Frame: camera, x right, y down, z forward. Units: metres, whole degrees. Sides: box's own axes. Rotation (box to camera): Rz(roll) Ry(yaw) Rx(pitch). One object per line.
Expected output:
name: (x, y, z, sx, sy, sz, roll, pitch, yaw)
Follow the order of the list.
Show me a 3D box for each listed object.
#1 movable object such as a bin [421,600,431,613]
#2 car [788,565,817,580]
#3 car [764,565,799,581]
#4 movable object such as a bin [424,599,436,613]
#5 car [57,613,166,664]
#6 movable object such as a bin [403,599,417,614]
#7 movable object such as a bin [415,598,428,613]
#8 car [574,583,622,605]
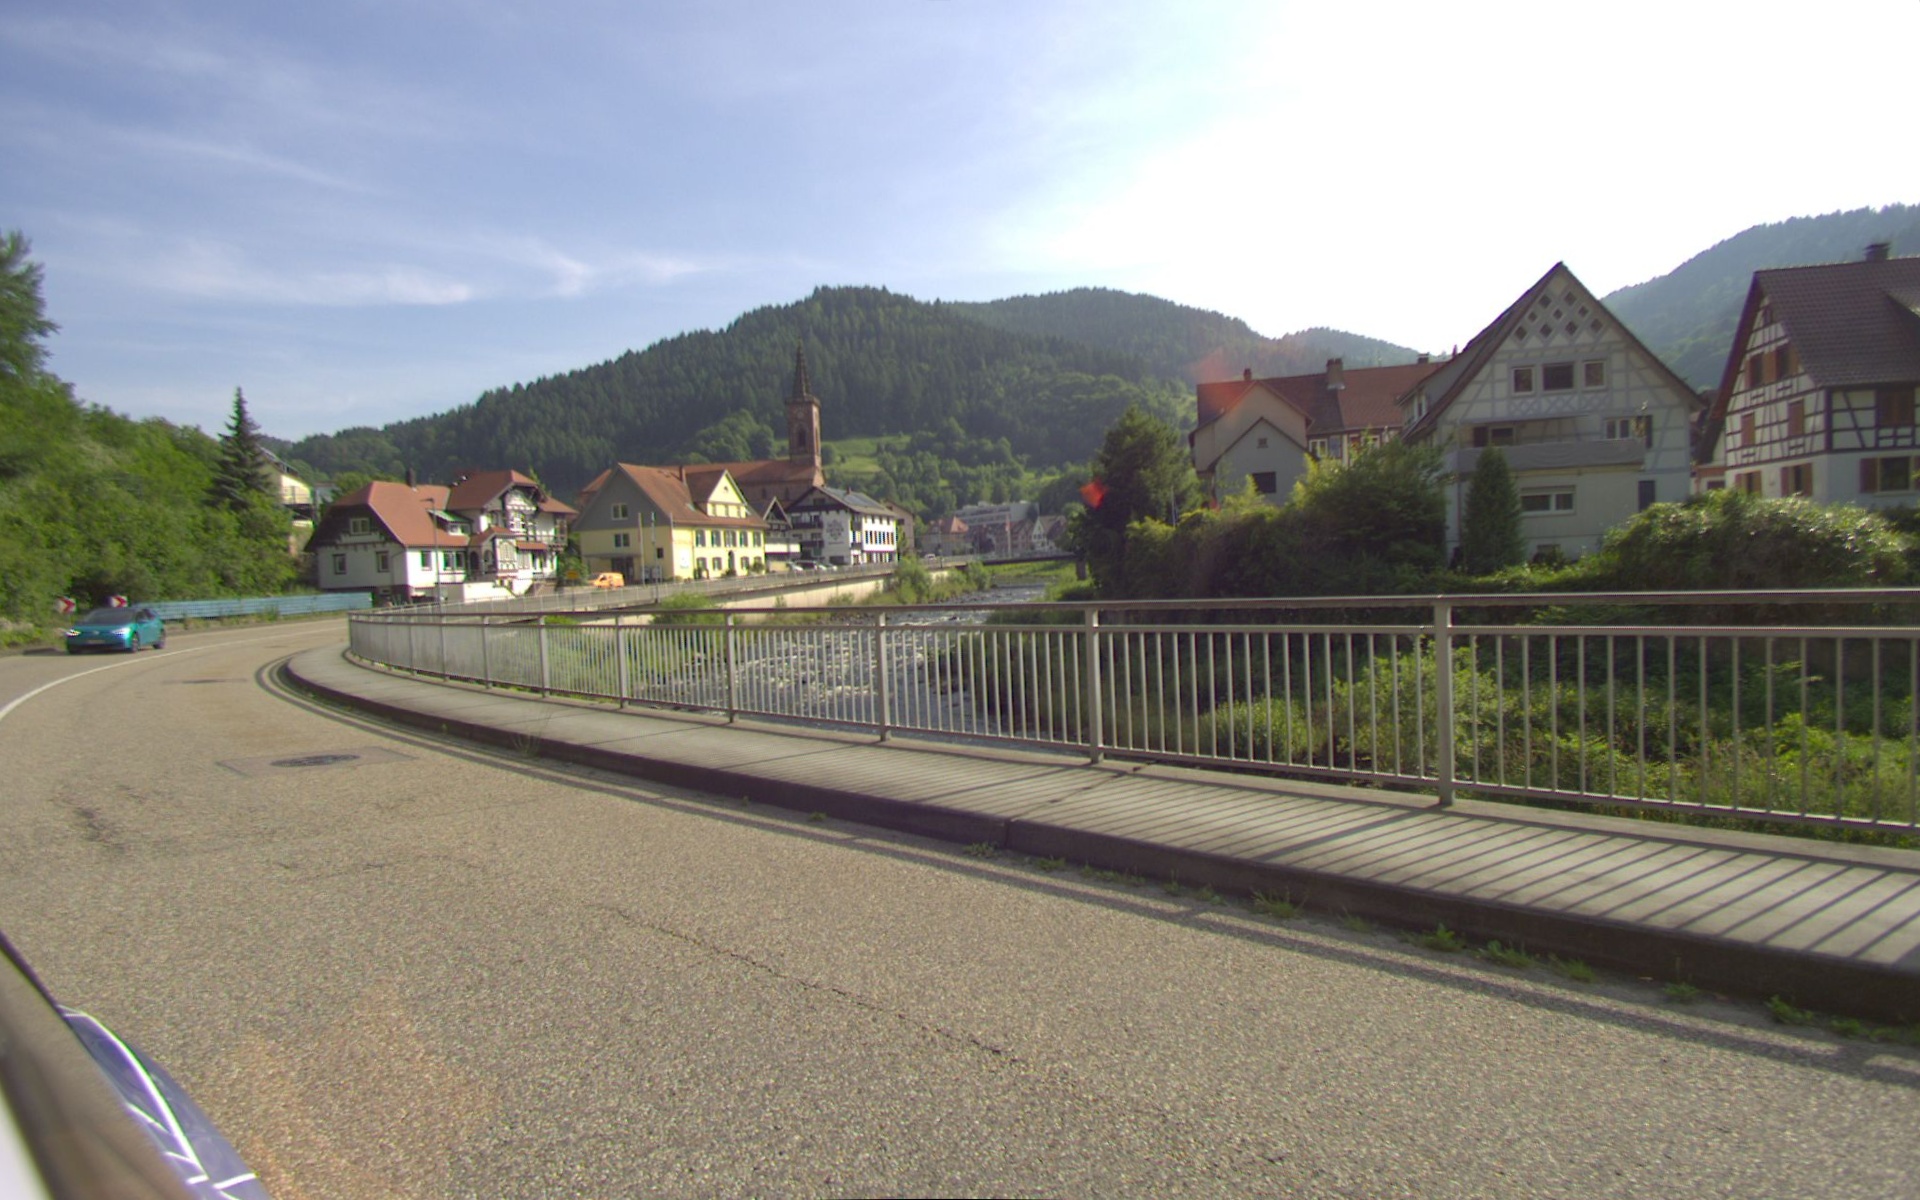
movable object such as a bin: (-39.548, 0.485, 74.977, 0.364, 0.906, 0.546, -3, 2, 5)
car: (-21.926, -3.789, 140.617, 3.729, 1.907, 1.363, 2, 3, 18)
car: (-24.423, -3.714, 138.545, 4.422, 1.972, 1.704, 3, 4, 18)
movable object such as a bin: (-39.109, 0.447, 74.687, 0.468, 0.943, 0.650, -3, 2, 12)
car: (-28.920, 1.257, 34.629, 1.655, 1.533, 3.878, -2, 0, -21)
movable object such as a bin: (-40.723, 0.456, 74.923, 0.474, 1.070, 0.750, -3, 2, 11)
movable object such as a bin: (-39.980, 0.416, 75.126, 0.474, 1.070, 0.750, -3, 2, 11)
car: (-34.772, -0.597, 97.412, 1.897, 2.012, 4.810, -2, 1, 16)
